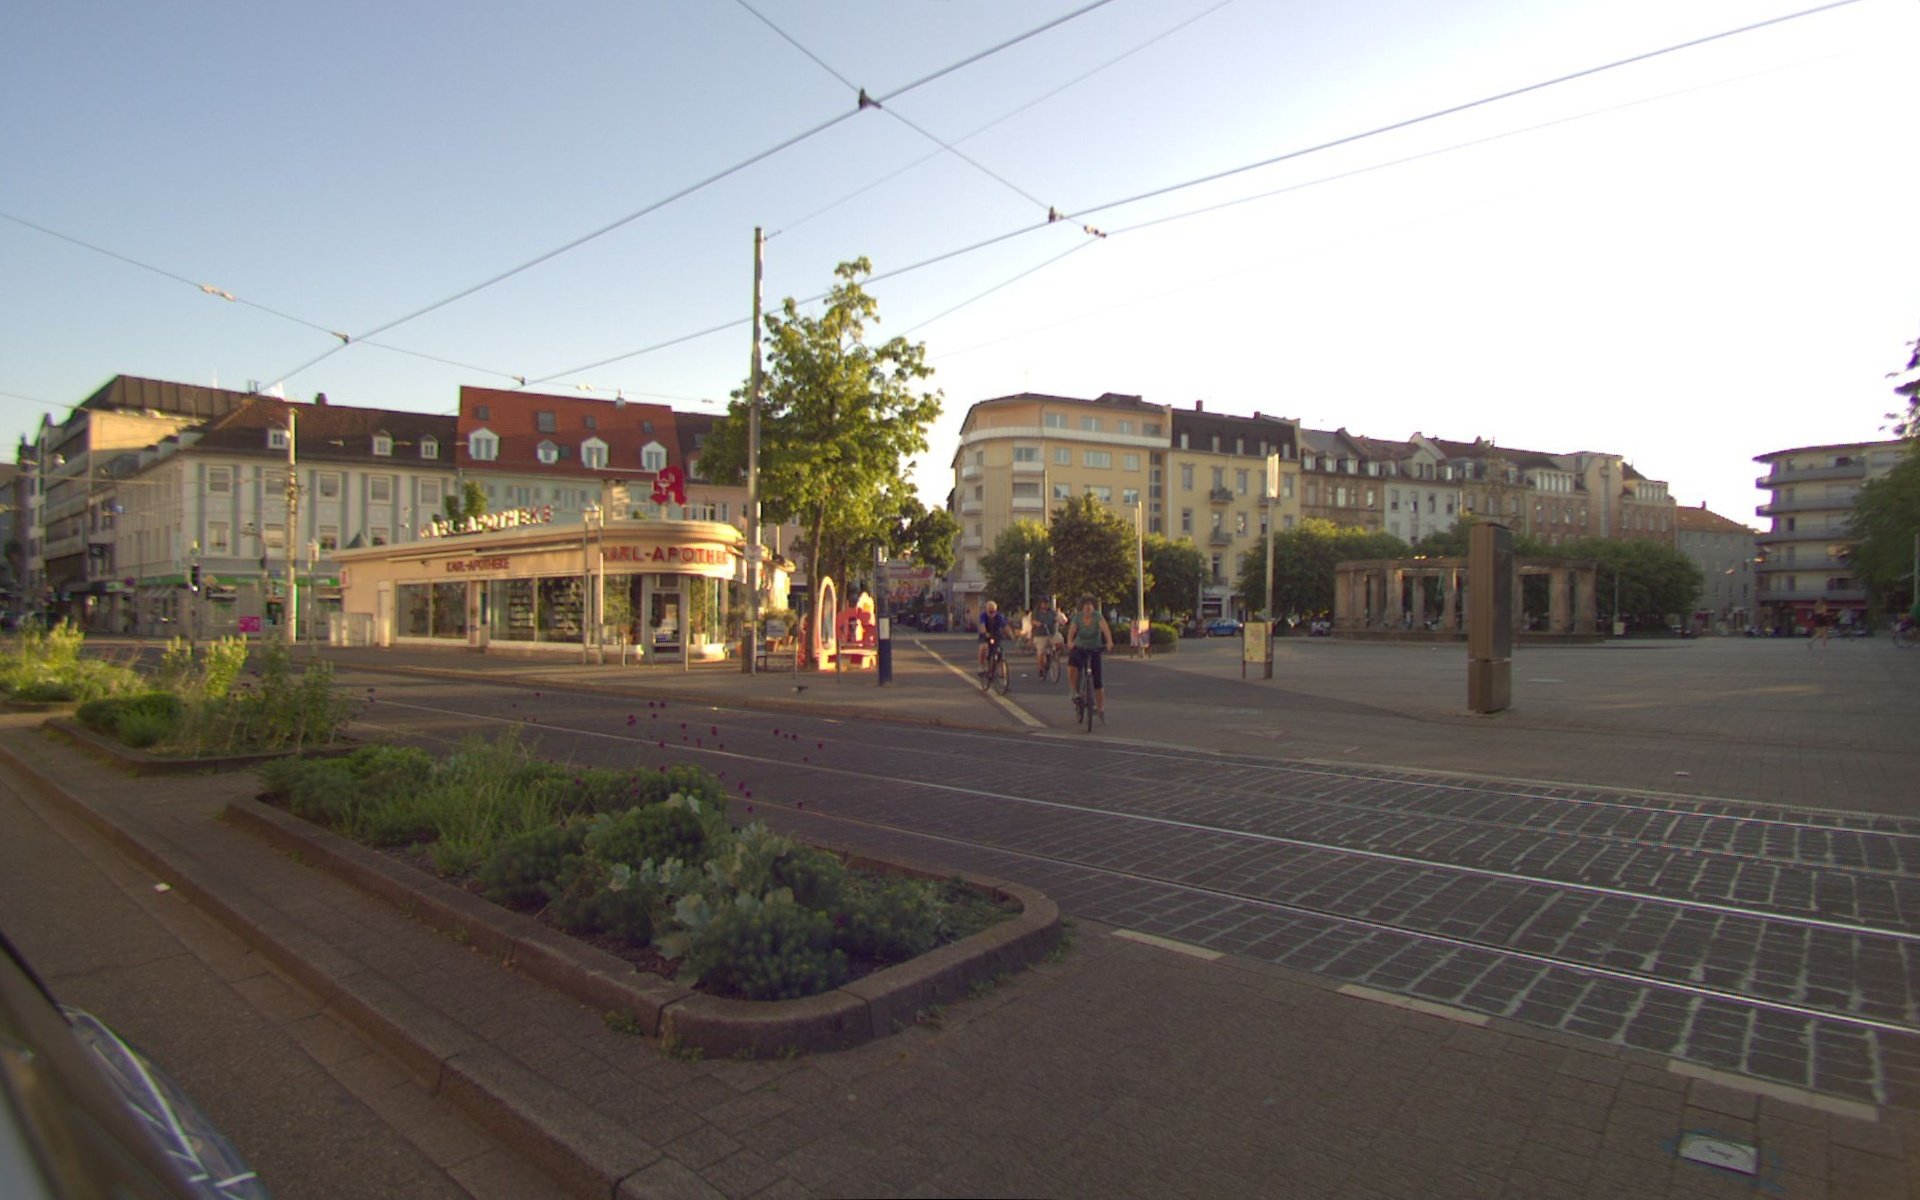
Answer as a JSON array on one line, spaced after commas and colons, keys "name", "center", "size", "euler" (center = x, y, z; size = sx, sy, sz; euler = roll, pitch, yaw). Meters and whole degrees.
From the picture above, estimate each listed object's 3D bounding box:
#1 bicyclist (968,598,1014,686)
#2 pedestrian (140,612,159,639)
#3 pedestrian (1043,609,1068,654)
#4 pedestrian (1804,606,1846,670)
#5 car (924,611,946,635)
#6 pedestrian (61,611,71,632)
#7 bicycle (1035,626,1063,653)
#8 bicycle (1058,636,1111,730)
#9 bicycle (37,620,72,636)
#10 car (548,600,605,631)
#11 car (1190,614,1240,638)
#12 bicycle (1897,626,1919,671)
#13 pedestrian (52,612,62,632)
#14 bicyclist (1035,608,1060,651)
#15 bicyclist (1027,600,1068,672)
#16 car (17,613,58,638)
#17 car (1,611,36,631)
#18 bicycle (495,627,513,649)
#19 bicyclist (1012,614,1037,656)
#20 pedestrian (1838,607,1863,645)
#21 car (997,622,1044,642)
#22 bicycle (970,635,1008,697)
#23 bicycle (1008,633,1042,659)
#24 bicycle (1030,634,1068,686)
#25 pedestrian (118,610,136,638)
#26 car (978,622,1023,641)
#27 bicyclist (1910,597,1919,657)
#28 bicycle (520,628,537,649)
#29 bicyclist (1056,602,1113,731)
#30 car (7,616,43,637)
[{"name": "bicyclist", "center": [0.601, 0.785, 19.254], "size": [0.731, 1.623, 0.800], "euler": [2, 0, 10]}, {"name": "pedestrian", "center": [-50.991, 1.574, 63.675], "size": [0.814, 1.652, 0.816], "euler": [0, 1, -33]}, {"name": "pedestrian", "center": [3.611, 1.193, 38.257], "size": [0.666, 1.688, 0.659], "euler": [2, 0, -33]}, {"name": "pedestrian", "center": [28.559, 1.237, 33.424], "size": [0.929, 2.076, 0.929], "euler": [-1, -1, 36]}, {"name": "car", "center": [-2.289, 2.111, 93.057], "size": [1.971, 2.029, 4.001], "euler": [2, 0, -1]}, {"name": "pedestrian", "center": [-75.900, 1.845, 85.883], "size": [0.600, 1.747, 0.509], "euler": [1, -1, 41]}, {"name": "bicycle", "center": [3.230, 1.443, 36.825], "size": [0.418, 0.922, 1.432], "euler": [2, 0, -20]}, {"name": "bicycle", "center": [1.663, 1.080, 13.693], "size": [0.454, 1.120, 1.936], "euler": [2, -1, 0]}, {"name": "bicycle", "center": [-61.993, 1.922, 69.309], "size": [1.715, 1.067, 0.499], "euler": [2, -3, -41]}, {"name": "car", "center": [-26.123, 1.044, 68.874], "size": [3.998, 2.029, 1.973], "euler": [1, 0, 41]}, {"name": "car", "center": [20.941, 2.139, 83.070], "size": [3.594, 1.921, 1.832], "euler": [0, -1, -26]}, {"name": "bicycle", "center": [32.731, 1.623, 33.767], "size": [2.221, 1.487, 0.578], "euler": [1, -1, 7]}, {"name": "pedestrian", "center": [-76.316, 1.853, 85.508], "size": [0.583, 1.697, 0.503], "euler": [1, 0, 40]}, {"name": "bicyclist", "center": [3.184, 1.068, 36.892], "size": [0.666, 1.531, 0.659], "euler": [0, -1, -20]}, {"name": "bicyclist", "center": [1.995, 0.816, 23.066], "size": [0.742, 1.588, 0.704], "euler": [2, 0, -7]}, {"name": "car", "center": [-71.052, 1.959, 77.934], "size": [4.127, 1.809, 1.890], "euler": [0, 0, 41]}, {"name": "car", "center": [-81.800, 1.804, 87.884], "size": [3.999, 1.569, 1.796], "euler": [1, 0, 41]}, {"name": "bicycle", "center": [-22.833, 1.892, 50.724], "size": [0.550, 1.052, 2.033], "euler": [2, -2, -17]}, {"name": "bicyclist", "center": [2.405, 1.283, 37.538], "size": [0.676, 1.531, 0.649], "euler": [-1, -1, 38]}, {"name": "pedestrian", "center": [41.801, 1.206, 47.501], "size": [0.763, 1.791, 0.570], "euler": [-1, -1, 33]}, {"name": "car", "center": [4.678, 2.498, 78.286], "size": [3.294, 1.479, 1.555], "euler": [2, -1, -26]}, {"name": "bicycle", "center": [0.571, 1.230, 19.394], "size": [0.455, 1.120, 1.922], "euler": [1, -2, 9]}, {"name": "bicycle", "center": [2.401, 1.688, 37.493], "size": [0.425, 0.922, 1.509], "euler": [1, 0, 40]}, {"name": "bicycle", "center": [2.004, 1.337, 22.942], "size": [0.488, 1.120, 1.714], "euler": [2, -2, -7]}, {"name": "pedestrian", "center": [-52.348, 1.527, 63.578], "size": [0.814, 1.741, 0.816], "euler": [0, -1, -35]}, {"name": "car", "center": [3.295, 2.553, 82.013], "size": [3.294, 1.495, 1.555], "euler": [1, -2, -26]}, {"name": "bicyclist", "center": [32.684, 0.919, 33.729], "size": [0.950, 2.033, 1.141], "euler": [2, 0, 6]}, {"name": "bicycle", "center": [-21.795, 1.930, 51.187], "size": [0.550, 1.051, 2.160], "euler": [2, -2, -17]}, {"name": "bicyclist", "center": [1.676, 0.881, 13.716], "size": [0.619, 1.681, 0.705], "euler": [2, 0, -1]}, {"name": "car", "center": [-75.741, 2.152, 81.958], "size": [3.997, 1.636, 1.679], "euler": [-1, -1, 41]}]
